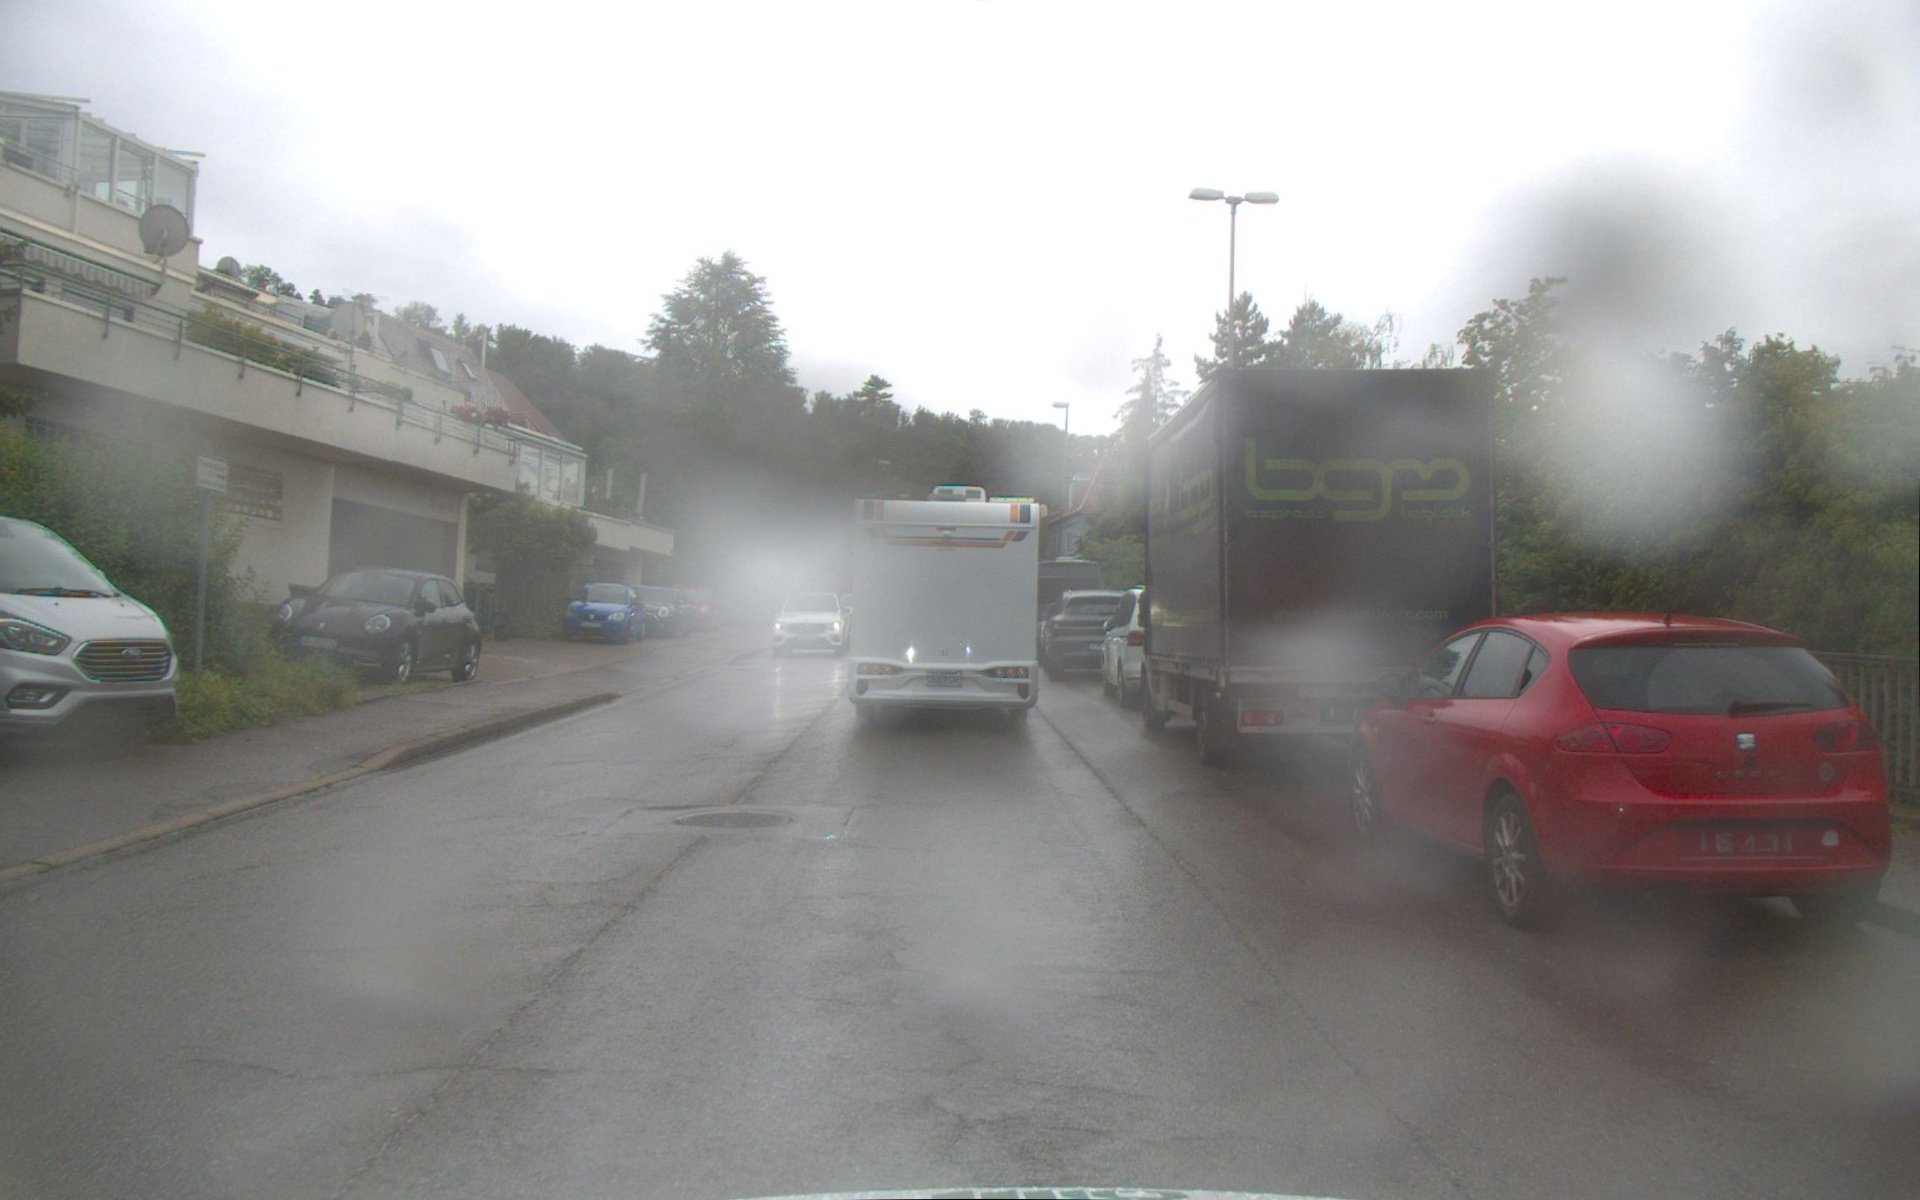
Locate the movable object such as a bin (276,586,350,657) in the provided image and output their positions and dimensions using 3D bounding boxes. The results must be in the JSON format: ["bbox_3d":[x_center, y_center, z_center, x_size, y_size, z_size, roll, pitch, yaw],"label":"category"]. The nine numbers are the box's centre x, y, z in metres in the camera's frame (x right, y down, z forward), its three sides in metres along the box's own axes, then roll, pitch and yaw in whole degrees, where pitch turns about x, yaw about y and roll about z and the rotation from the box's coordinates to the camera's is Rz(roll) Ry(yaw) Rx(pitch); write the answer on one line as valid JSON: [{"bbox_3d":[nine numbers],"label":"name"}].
[{"bbox_3d":[-10.663,0.357,27.274,0.709,1.089,0.767,5,-1,17],"label":"movable object such as a bin"}]

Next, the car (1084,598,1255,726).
[{"bbox_3d":[3.028,0.850,25.013,1.808,1.713,5.637,0,0,-1],"label":"car"}]

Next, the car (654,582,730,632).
[{"bbox_3d":[-9.075,0.218,56.337,1.738,1.461,4.587,6,0,0],"label":"car"}]

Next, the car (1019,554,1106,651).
[{"bbox_3d":[2.813,0.052,46.538,1.990,2.549,5.955,0,0,-1],"label":"car"}]

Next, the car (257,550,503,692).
[{"bbox_3d":[-8.042,0.269,23.371,1.655,1.615,4.198,7,0,2],"label":"car"}]

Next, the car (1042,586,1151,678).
[{"bbox_3d":[2.658,0.599,33.183,1.896,1.701,4.695,0,0,1],"label":"car"}]

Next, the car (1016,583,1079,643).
[{"bbox_3d":[2.787,0.405,53.784,1.789,1.874,5.269,0,0,0],"label":"car"}]

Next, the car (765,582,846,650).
[{"bbox_3d":[-4.026,0.391,43.663,1.868,1.635,4.426,2,0,-3],"label":"car"}]

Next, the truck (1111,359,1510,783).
[{"bbox_3d":[3.185,-0.207,17.267,2.386,3.394,7.963,0,0,-1],"label":"truck"}]

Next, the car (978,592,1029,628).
[{"bbox_3d":[1.945,0.435,74.652,1.654,1.482,4.050,2,0,-8],"label":"car"}]

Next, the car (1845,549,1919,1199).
[{"bbox_3d":[3.275,0.680,2.107,1.724,1.632,4.665,0,0,-1],"label":"car"}]

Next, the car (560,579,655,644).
[{"bbox_3d":[-8.978,0.266,42.360,1.575,1.459,3.958,5,0,-2],"label":"car"}]

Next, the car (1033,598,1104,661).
[{"bbox_3d":[2.585,0.678,40.077,1.556,1.454,3.798,0,0,1],"label":"car"}]

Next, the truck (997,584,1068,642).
[{"bbox_3d":[2.578,0.433,60.139,2.071,1.884,6.616,3,0,-1],"label":"truck"}]

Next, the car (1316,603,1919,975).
[{"bbox_3d":[3.434,0.760,9.039,1.795,1.463,4.985,0,0,-2],"label":"car"}]

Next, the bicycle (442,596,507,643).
[{"bbox_3d":[-11.380,0.460,38.778,1.534,1.024,0.477,3,0,28],"label":"bicycle"}]

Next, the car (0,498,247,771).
[{"bbox_3d":[-8.752,0.242,13.696,4.977,1.978,2.143,0,0,16],"label":"car"}]

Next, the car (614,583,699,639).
[{"bbox_3d":[-8.748,0.294,48.018,1.600,1.420,4.238,5,0,0],"label":"car"}]

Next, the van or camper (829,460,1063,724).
[{"bbox_3d":[-0.158,-0.008,21.849,2.562,2.903,6.030,2,-2,0],"label":"van or camper"}]

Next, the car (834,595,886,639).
[{"bbox_3d":[-3.856,0.615,64.273,1.762,1.594,4.383,2,0,-1],"label":"car"}]
